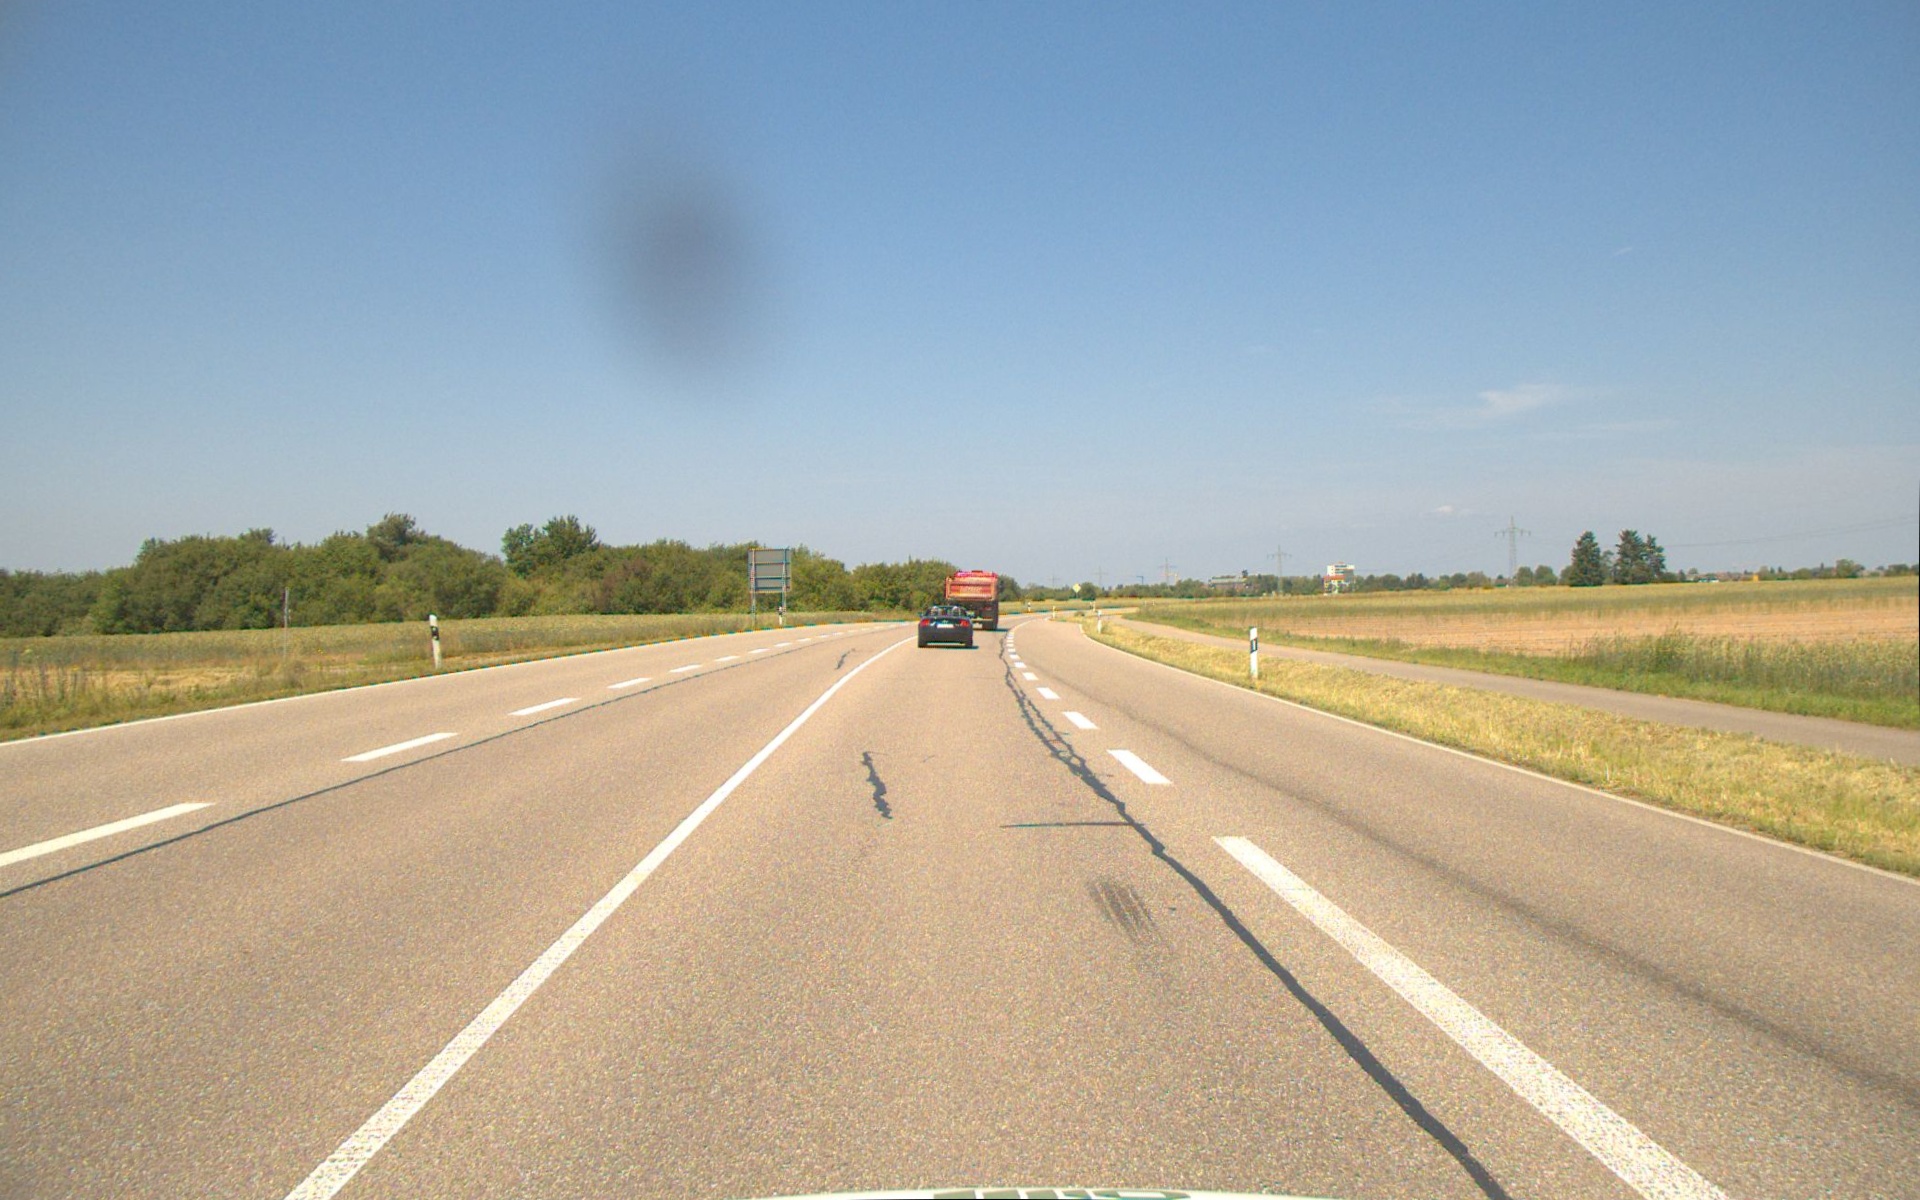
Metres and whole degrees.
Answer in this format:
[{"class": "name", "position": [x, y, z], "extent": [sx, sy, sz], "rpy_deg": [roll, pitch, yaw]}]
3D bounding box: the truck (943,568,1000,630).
[{"class": "truck", "position": [0.690, -0.023, 87.705], "extent": [2.877, 3.143, 7.197], "rpy_deg": [0, 0, 1]}]

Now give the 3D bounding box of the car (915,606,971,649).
[{"class": "car", "position": [-0.530, 0.839, 52.704], "extent": [1.708, 1.302, 3.999], "rpy_deg": [0, 0, -1]}]
